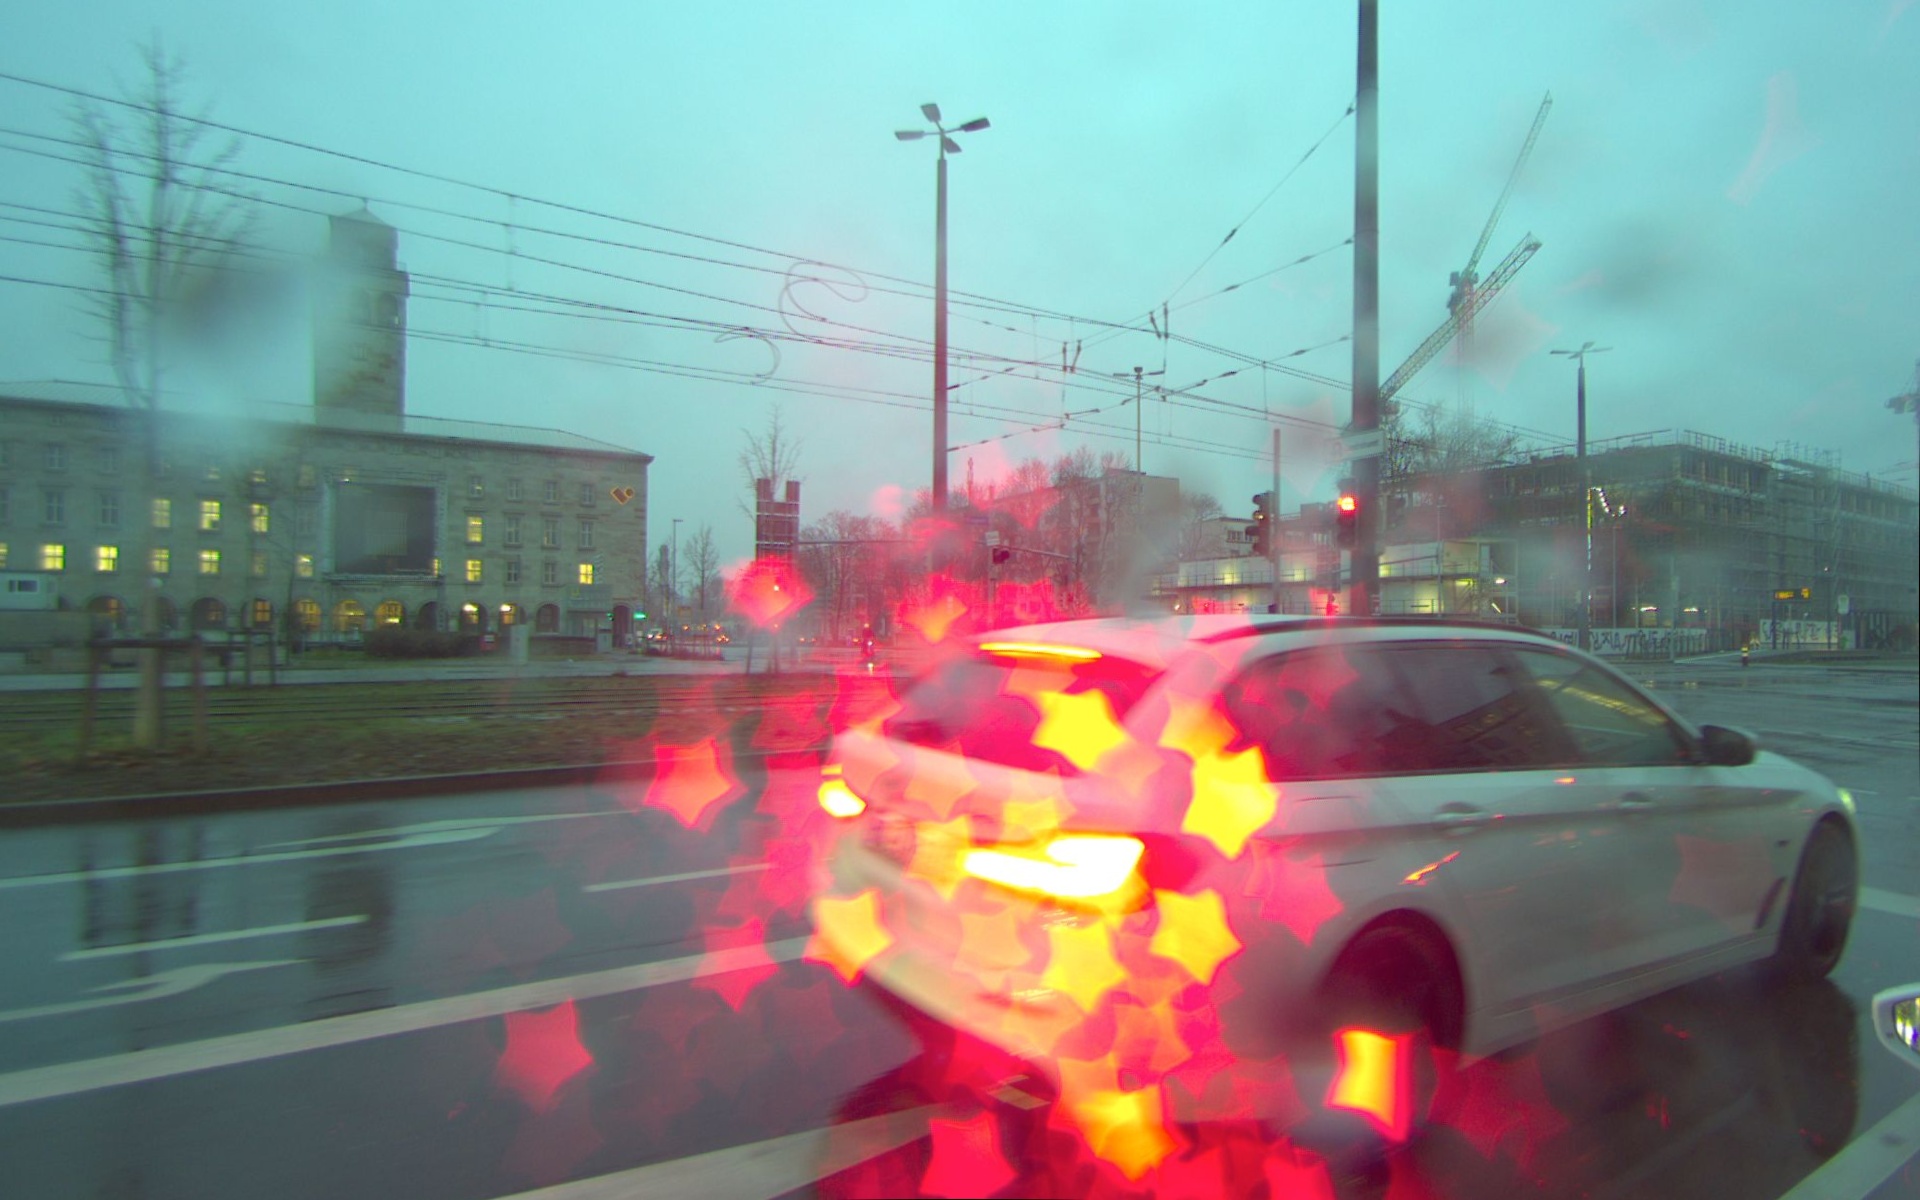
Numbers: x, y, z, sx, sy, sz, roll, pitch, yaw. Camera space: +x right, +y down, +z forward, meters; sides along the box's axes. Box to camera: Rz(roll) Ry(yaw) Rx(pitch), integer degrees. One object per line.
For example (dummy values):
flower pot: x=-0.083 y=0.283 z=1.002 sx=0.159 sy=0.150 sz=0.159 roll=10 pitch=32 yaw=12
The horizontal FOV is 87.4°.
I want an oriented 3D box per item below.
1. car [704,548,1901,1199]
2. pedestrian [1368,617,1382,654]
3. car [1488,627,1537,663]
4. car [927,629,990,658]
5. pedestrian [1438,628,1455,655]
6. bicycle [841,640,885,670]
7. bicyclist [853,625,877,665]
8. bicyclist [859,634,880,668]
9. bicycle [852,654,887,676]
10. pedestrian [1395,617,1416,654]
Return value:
car: x=1.651 y=0.745 z=4.042 sx=4.868 sy=1.540 sz=1.900 roll=2 pitch=-2 yaw=-31
pedestrian: x=23.164 y=1.989 z=56.111 sx=0.635 sy=2.039 sz=0.503 roll=5 pitch=-5 yaw=-40
car: x=32.986 y=2.654 z=59.932 sx=1.736 sy=2.040 sz=3.979 roll=-1 pitch=-2 yaw=41
car: x=-0.109 y=2.600 z=60.381 sx=1.978 sy=1.706 sz=3.965 roll=1 pitch=-2 yaw=-32
pedestrian: x=28.171 y=2.384 z=58.145 sx=0.789 sy=1.549 sz=0.639 roll=2 pitch=-2 yaw=-38
bicycle: x=-4.703 y=2.640 z=48.368 sx=0.714 sy=1.380 sz=2.809 roll=2 pitch=-3 yaw=-38
bicyclist: x=-4.556 y=2.162 z=48.150 sx=0.714 sy=1.863 sz=0.986 roll=2 pitch=-3 yaw=-38
bicyclist: x=-4.593 y=2.572 z=50.691 sx=0.612 sy=1.719 sz=1.026 roll=2 pitch=-2 yaw=-36
bicycle: x=-4.575 y=3.249 z=50.631 sx=0.612 sy=1.046 sz=2.356 roll=2 pitch=-2 yaw=-36
pedestrian: x=24.636 y=1.966 z=55.551 sx=0.741 sy=2.040 sz=0.786 roll=3 pitch=-3 yaw=-40
